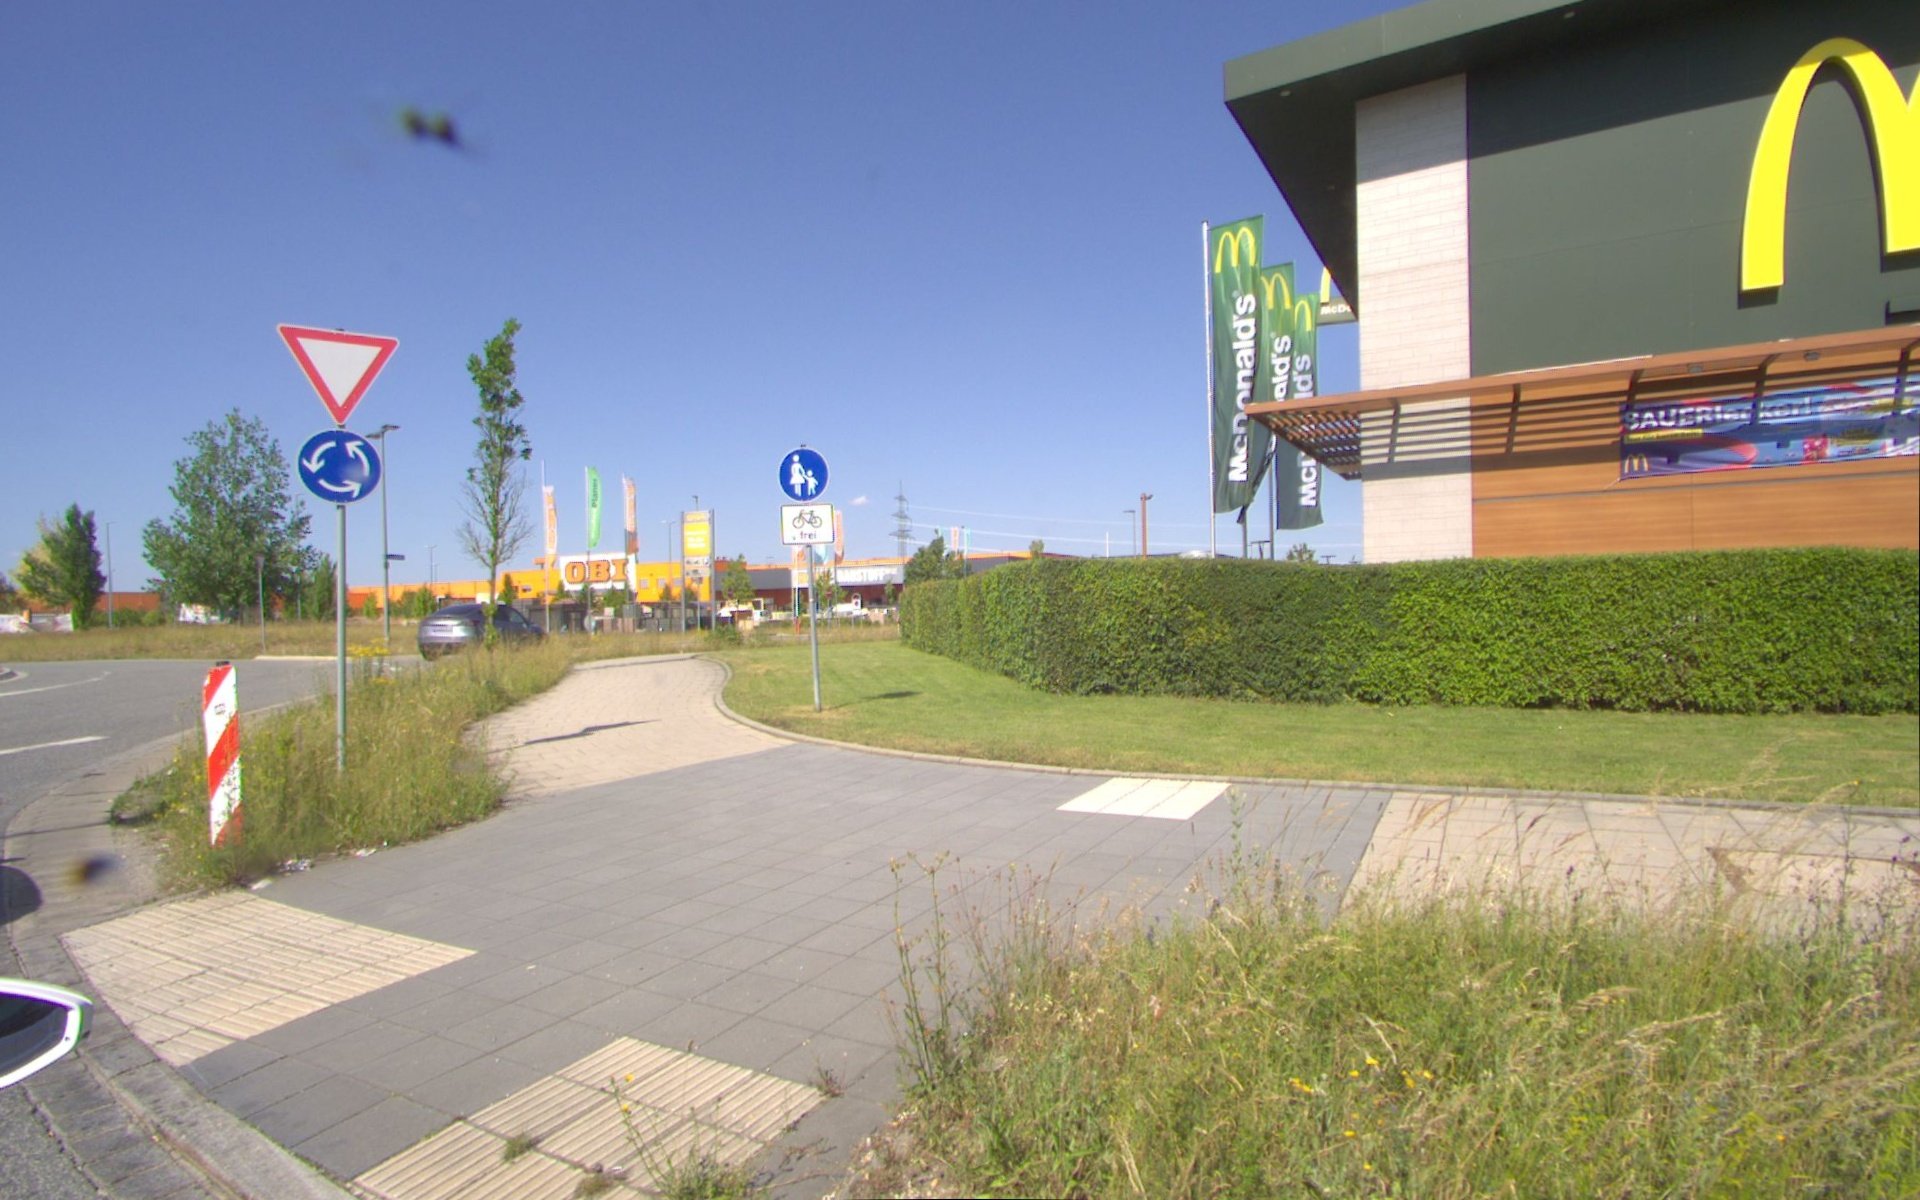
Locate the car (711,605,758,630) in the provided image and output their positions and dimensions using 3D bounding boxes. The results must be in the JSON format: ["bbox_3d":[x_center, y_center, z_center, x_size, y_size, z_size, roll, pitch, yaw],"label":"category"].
[{"bbox_3d":[-17.660,1.418,78.533,1.673,1.864,3.763,-1,-2,25],"label":"car"}]

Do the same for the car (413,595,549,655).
[{"bbox_3d":[-13.649,0.685,28.831,1.796,1.605,4.167,-1,0,2],"label":"car"}]
